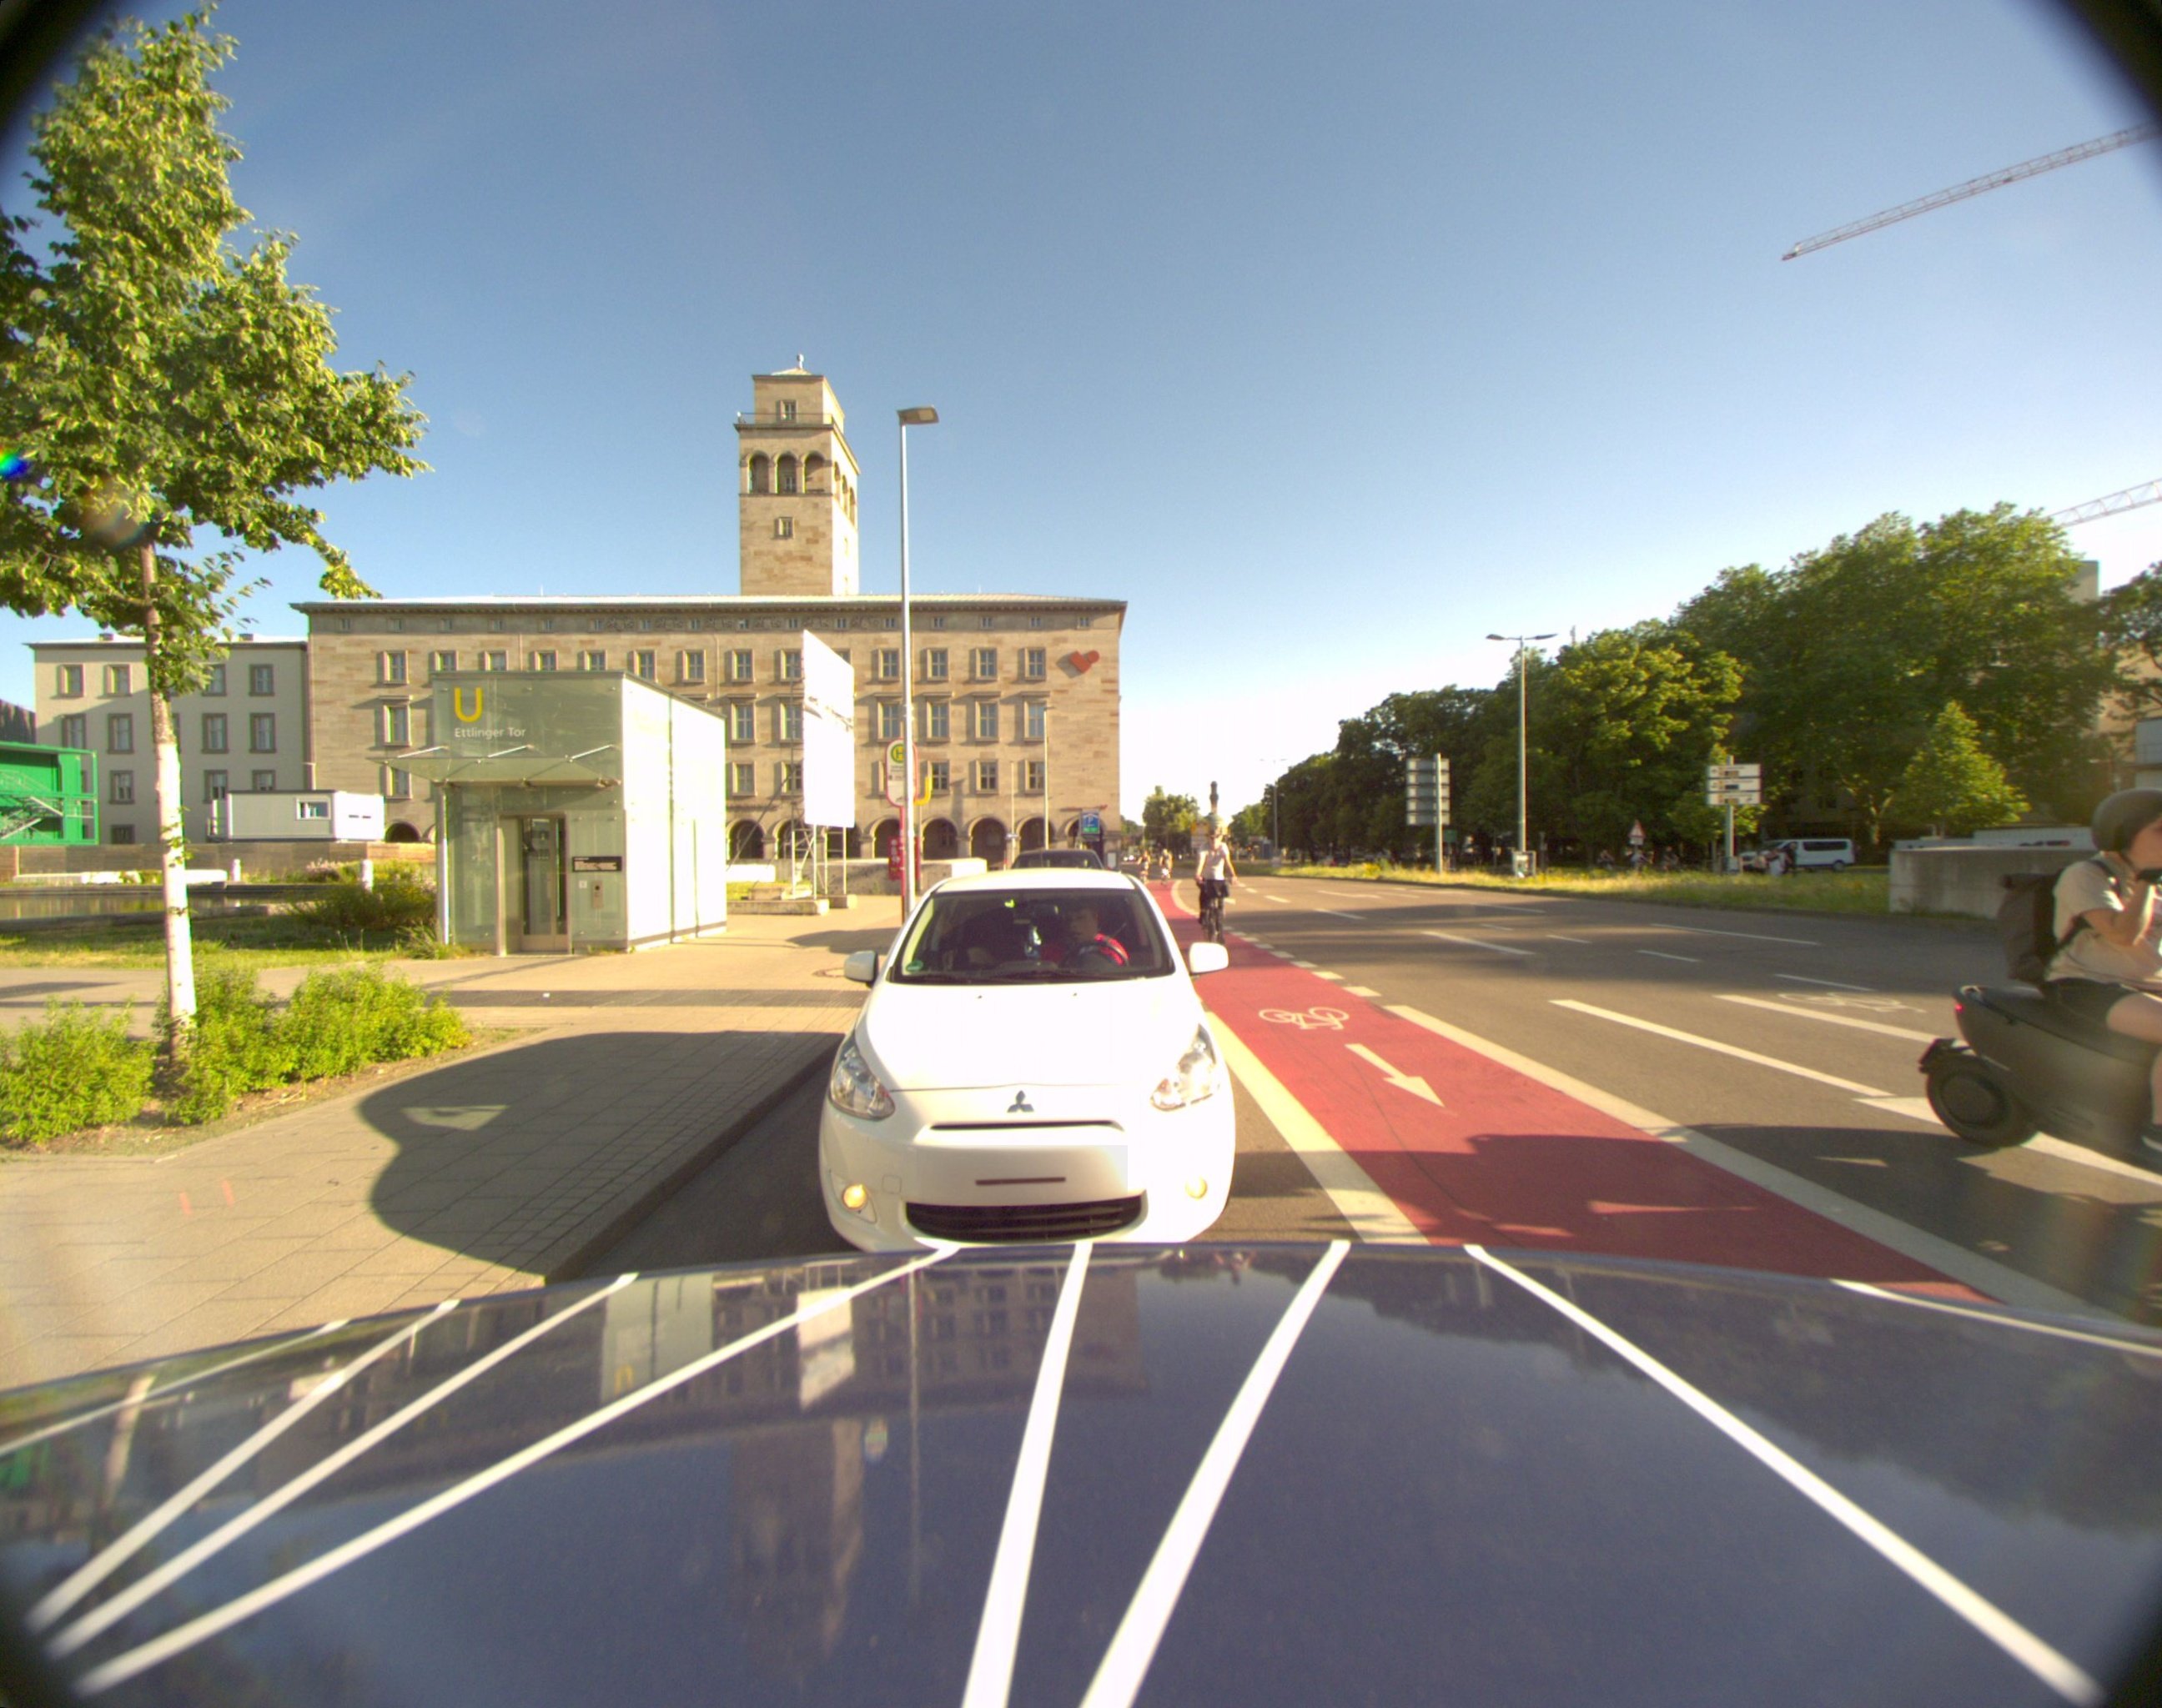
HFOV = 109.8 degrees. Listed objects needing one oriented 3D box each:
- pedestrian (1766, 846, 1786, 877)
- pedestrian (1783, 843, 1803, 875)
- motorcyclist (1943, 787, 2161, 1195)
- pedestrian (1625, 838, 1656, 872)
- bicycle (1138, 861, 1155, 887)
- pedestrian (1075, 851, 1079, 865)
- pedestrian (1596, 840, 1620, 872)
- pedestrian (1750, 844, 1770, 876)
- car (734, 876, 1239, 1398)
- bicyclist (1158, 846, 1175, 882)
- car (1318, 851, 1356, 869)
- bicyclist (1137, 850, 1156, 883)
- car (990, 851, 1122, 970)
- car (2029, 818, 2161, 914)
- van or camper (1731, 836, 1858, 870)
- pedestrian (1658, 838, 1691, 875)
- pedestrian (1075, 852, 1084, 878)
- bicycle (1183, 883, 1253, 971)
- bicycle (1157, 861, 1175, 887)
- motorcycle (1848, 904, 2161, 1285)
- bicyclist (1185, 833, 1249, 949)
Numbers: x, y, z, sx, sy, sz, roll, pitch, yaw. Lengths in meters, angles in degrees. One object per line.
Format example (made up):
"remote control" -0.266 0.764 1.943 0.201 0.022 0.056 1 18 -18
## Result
"pedestrian" 33.313 0.358 36.415 0.499 1.502 0.494 -1 1 1
"pedestrian" 34.098 0.242 36.409 0.499 1.502 0.494 -1 1 1
"motorcyclist" 4.263 0.483 2.953 0.824 1.455 0.877 -1 1 1
"pedestrian" 33.239 0.039 45.147 0.951 1.952 1.058 -2 1 -14
"bicycle" 3.110 0.966 36.394 0.689 1.185 1.506 -1 1 1
"pedestrian" -0.570 0.597 108.505 0.612 2.002 0.727 -2 1 0
"pedestrian" 33.377 0.137 48.142 0.841 2.002 0.955 -3 1 -25
"pedestrian" 32.324 0.276 36.167 0.499 1.502 0.494 -1 1 1
"car" -0.259 0.925 4.309 1.519 1.447 4.000 -1 0 1
"bicyclist" 4.023 0.471 35.861 0.674 1.649 0.877 -1 1 1
"car" 21.442 0.499 63.858 1.881 1.472 3.980 -1 0 1
"bicyclist" 3.141 0.601 36.458 0.824 1.568 0.877 -1 1 1
"car" -0.325 0.793 12.718 1.833 1.660 4.000 -1 0 1
"car" 22.372 0.227 14.679 1.887 1.911 4.930 -1 0 -2
"van or camper" 42.231 -0.052 45.066 5.499 1.934 1.951 -1 1 4
"pedestrian" 33.033 0.131 42.302 1.126 1.952 0.815 -2 1 1
"pedestrian" -0.119 0.724 49.810 0.552 1.692 0.553 -1 1 -1
"bicycle" 2.048 1.065 11.595 0.741 1.140 1.890 -1 0 1
"bicycle" 4.017 0.914 35.888 0.689 1.185 1.506 -1 1 1
"motorcycle" 4.268 0.898 2.854 0.828 1.273 1.944 -1 0 1
"bicyclist" 2.056 0.539 11.565 0.807 1.690 0.852 -1 1 1
